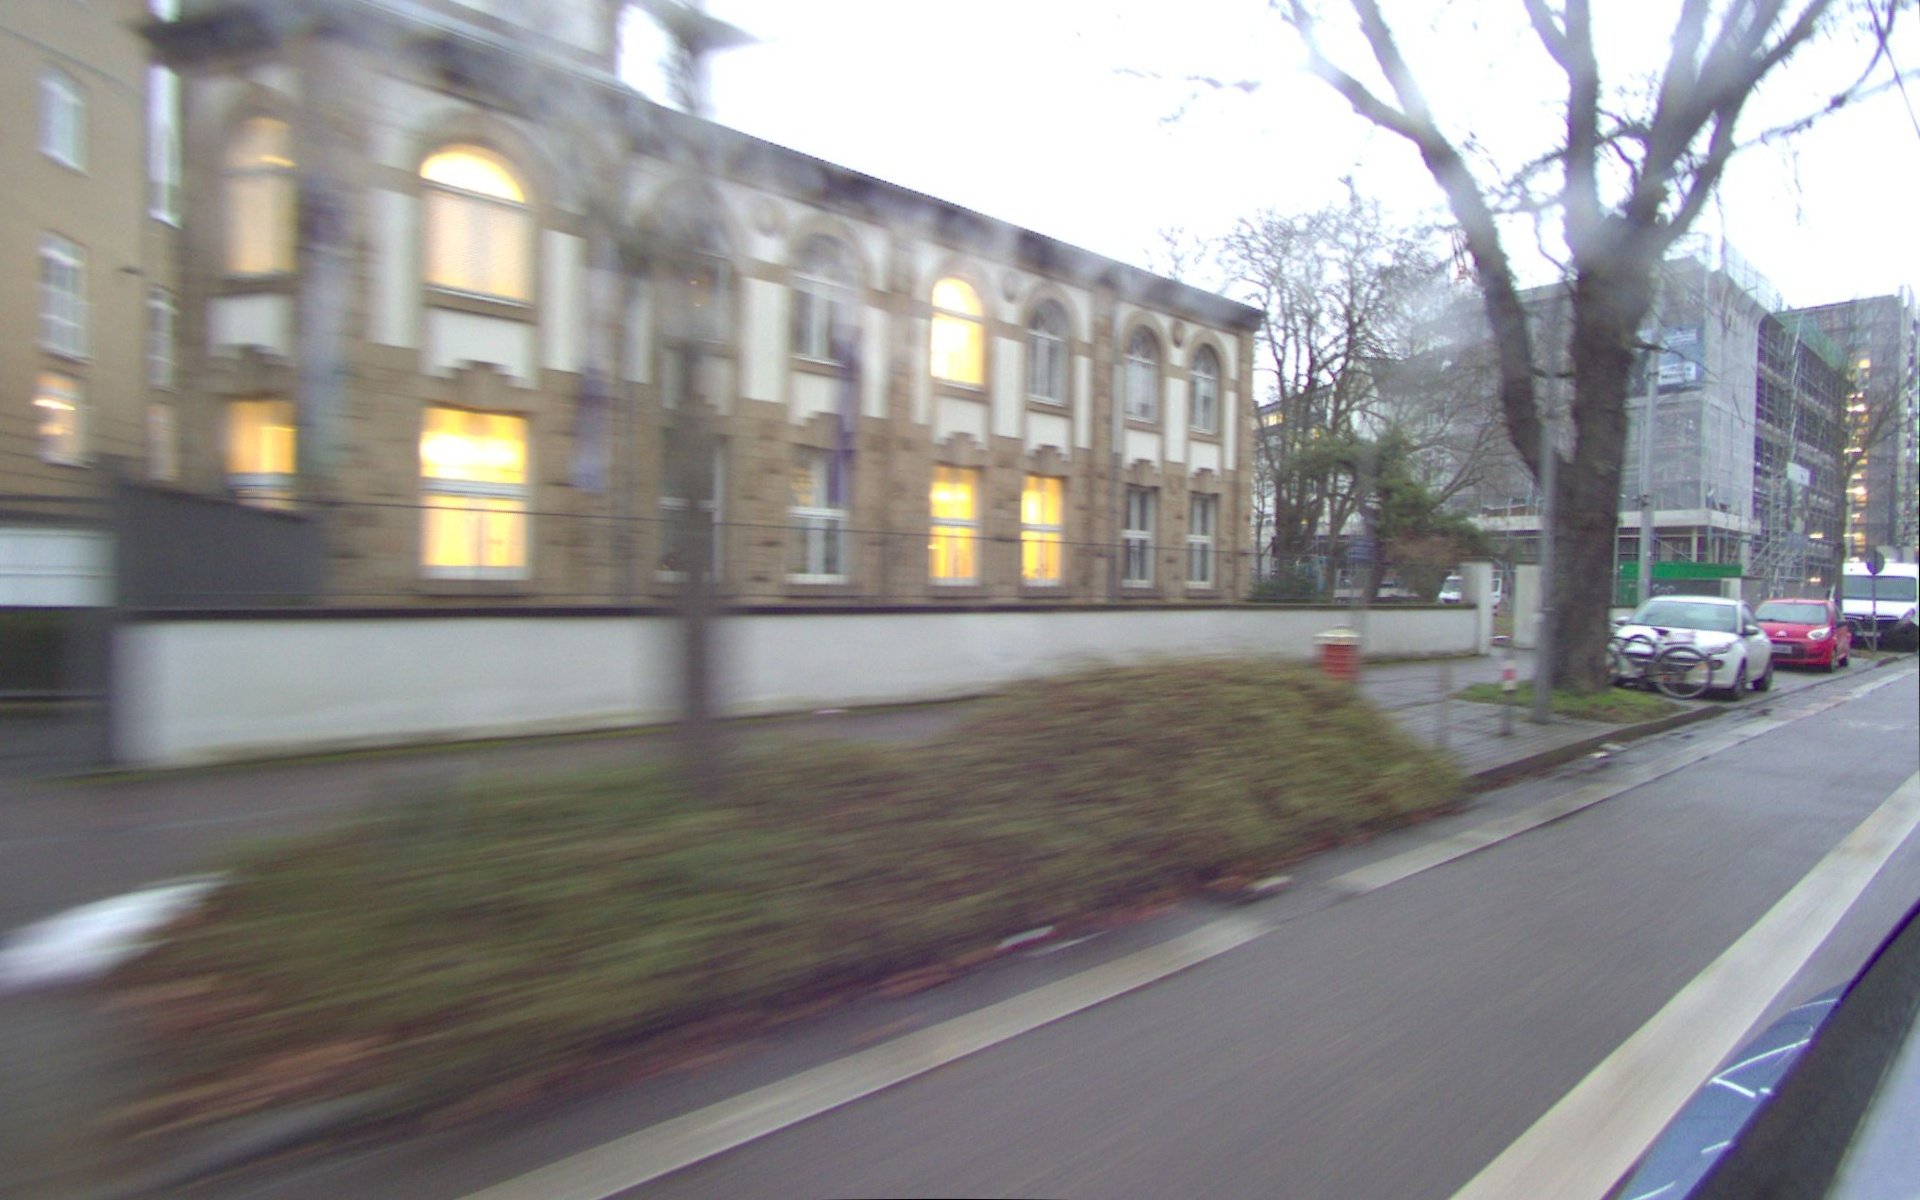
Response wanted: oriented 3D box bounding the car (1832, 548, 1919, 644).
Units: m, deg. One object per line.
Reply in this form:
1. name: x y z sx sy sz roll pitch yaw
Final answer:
1. car: 26.752 -0.103 28.961 5.347 2.518 2.127 1 1 -43

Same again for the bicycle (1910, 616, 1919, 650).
1. bicycle: 33.322 1.144 34.033 1.883 1.147 0.721 3 1 36

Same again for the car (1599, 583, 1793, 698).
1. car: 11.456 0.553 15.671 3.574 1.538 1.694 0 2 -42

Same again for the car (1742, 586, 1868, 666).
1. car: 17.933 0.503 21.439 3.512 1.542 1.645 1 1 -43

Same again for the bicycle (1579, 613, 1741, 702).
1. bicycle: 9.691 0.757 14.058 0.651 1.084 1.717 1 1 -40

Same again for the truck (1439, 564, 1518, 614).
1. truck: 28.850 -0.690 56.183 2.125 2.619 6.975 2 3 42
